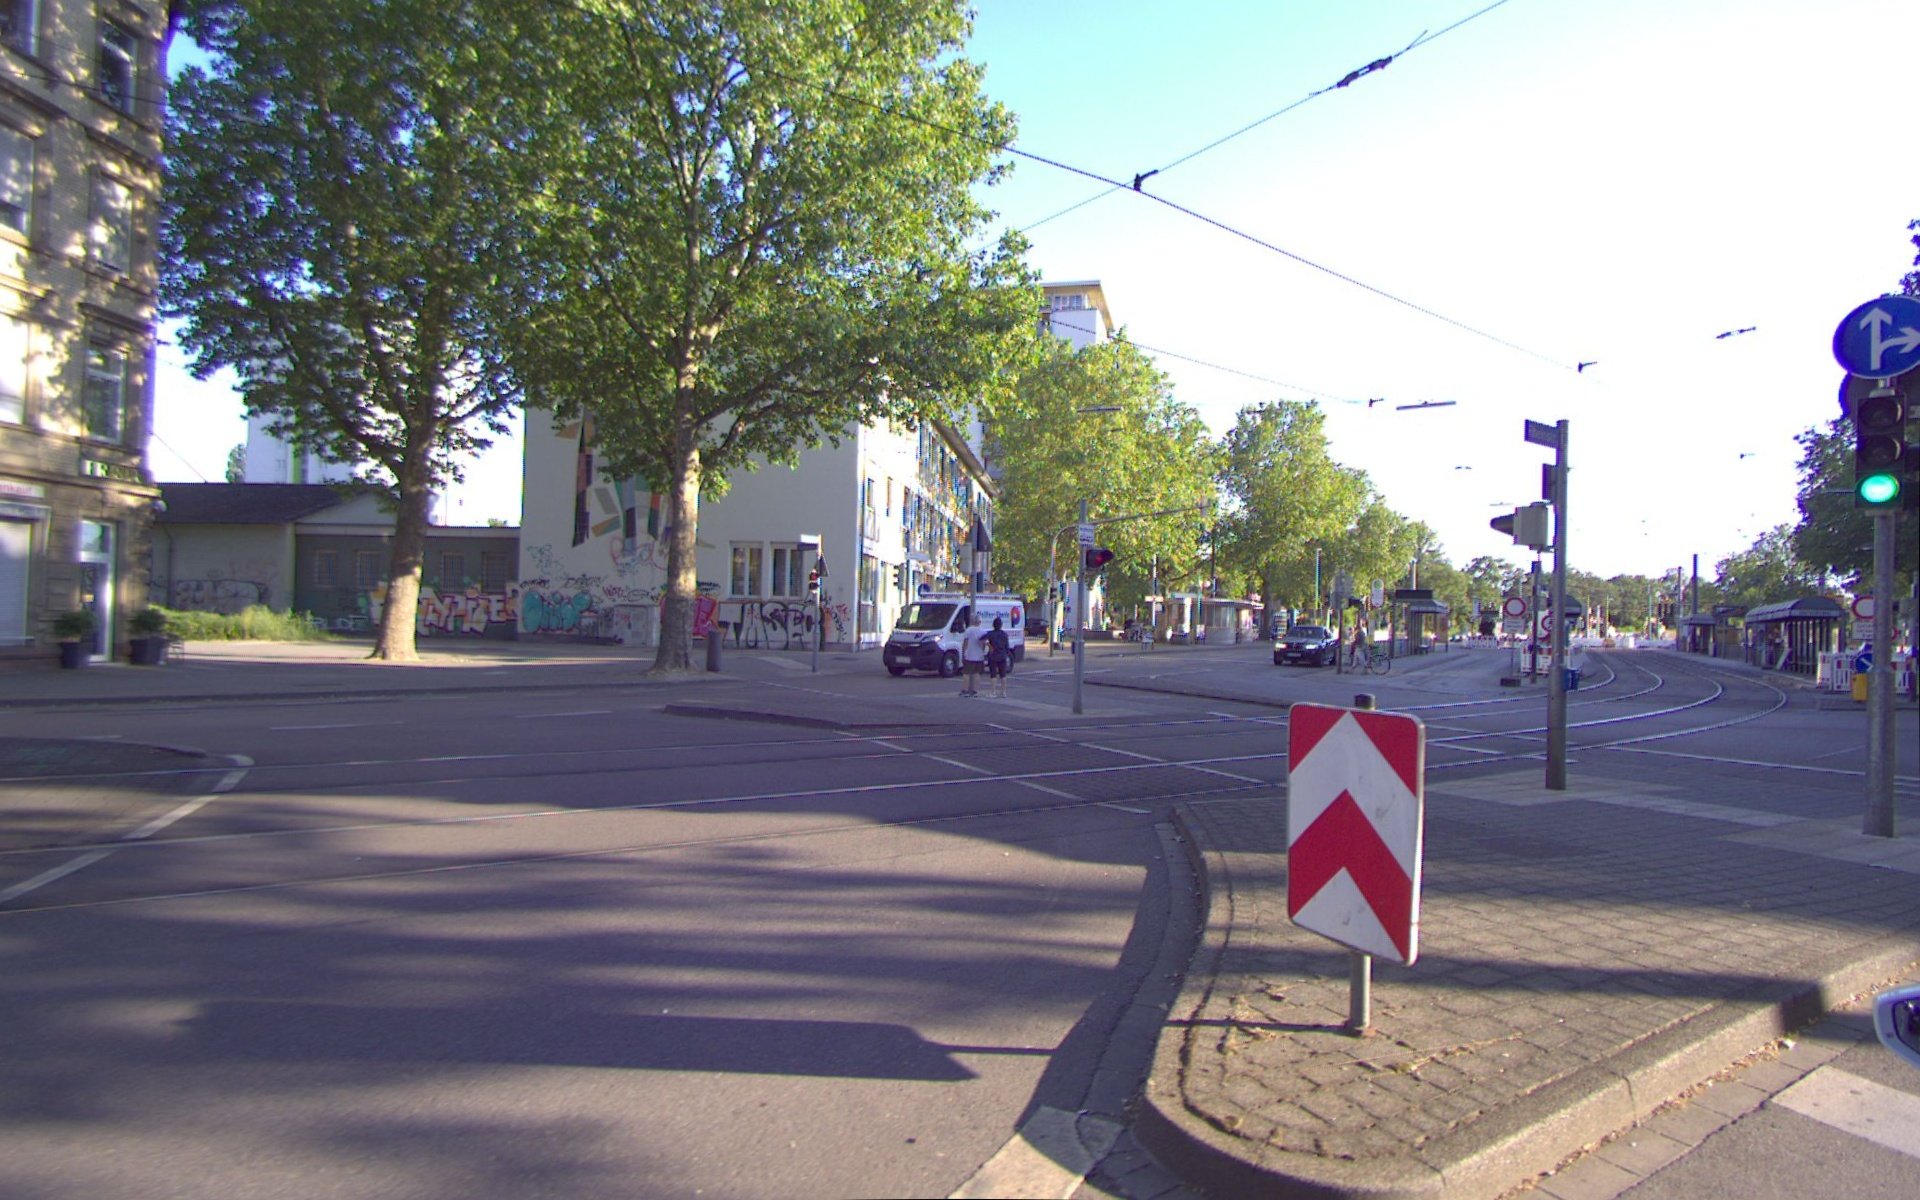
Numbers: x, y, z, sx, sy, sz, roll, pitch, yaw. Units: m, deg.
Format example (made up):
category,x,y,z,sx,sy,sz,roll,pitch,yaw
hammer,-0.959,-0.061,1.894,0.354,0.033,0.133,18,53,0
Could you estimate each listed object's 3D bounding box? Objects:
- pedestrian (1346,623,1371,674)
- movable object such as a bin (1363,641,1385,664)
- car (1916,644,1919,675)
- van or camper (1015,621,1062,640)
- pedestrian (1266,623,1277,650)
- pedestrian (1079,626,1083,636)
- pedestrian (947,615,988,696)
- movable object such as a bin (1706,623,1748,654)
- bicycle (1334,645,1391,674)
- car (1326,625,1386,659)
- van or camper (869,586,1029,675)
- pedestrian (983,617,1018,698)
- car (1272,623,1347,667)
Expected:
category,x,y,z,sx,sy,sz,roll,pitch,yaw
pedestrian,13.953,1.707,35.172,0.709,1.748,0.398,1,-1,31
movable object such as a bin,17.025,2.149,41.314,0.661,0.878,0.700,3,1,34
car,45.868,2.815,46.536,1.733,1.483,3.986,1,-1,36
van or camper,7.031,2.725,90.228,3.926,1.572,1.827,2,-1,-7
pedestrian,23.788,2.784,76.735,0.696,2.040,0.743,1,-1,25
pedestrian,12.801,3.263,106.444,0.385,1.086,0.389,1,-1,13
pedestrian,0.146,1.066,19.364,0.513,1.524,0.591,1,-1,38
movable object such as a bin,67.336,3.370,88.304,2.459,2.509,5.342,1,-1,33
bicycle,14.221,2.101,35.535,1.814,0.955,0.462,1,-1,32
car,19.233,2.019,48.741,1.860,1.551,4.195,1,-1,34
van or camper,-0.207,0.918,29.263,2.138,2.349,5.088,-1,-3,35
pedestrian,0.787,1.105,19.475,0.403,1.524,0.515,1,-1,38
car,14.209,1.801,40.747,1.860,1.606,4.195,1,-1,34
